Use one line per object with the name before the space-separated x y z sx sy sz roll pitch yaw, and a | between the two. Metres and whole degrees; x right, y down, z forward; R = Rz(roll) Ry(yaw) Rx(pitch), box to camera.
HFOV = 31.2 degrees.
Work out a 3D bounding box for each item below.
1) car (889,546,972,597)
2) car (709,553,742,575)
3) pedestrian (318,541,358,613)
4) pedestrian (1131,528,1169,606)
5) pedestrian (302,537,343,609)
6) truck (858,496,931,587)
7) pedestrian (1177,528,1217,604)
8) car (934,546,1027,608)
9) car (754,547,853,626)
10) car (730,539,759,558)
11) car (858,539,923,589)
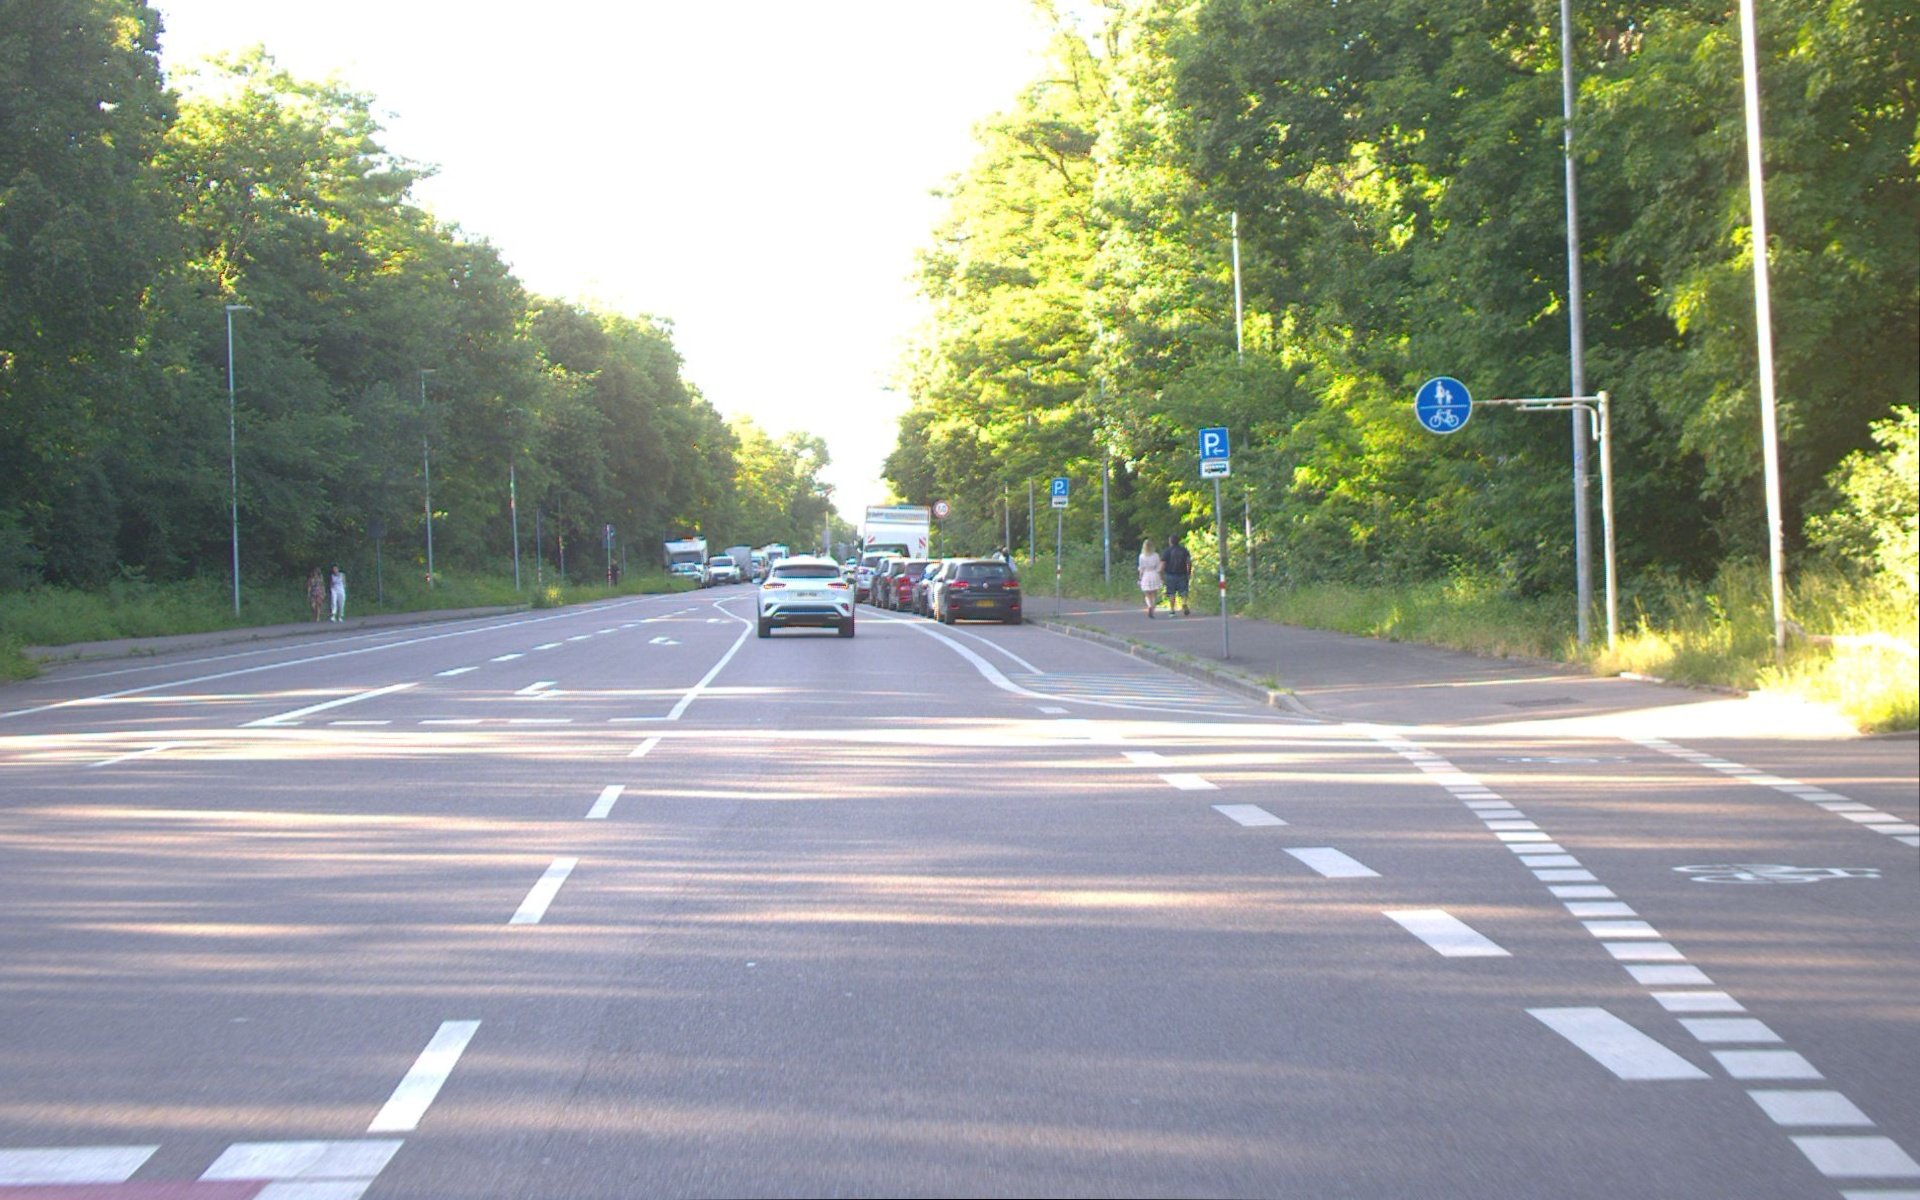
car | -0.846 -0.792 94.656 1.993 1.322 4.001 -2 1 -4
car | -15.360 -2.373 225.166 1.993 1.322 4.001 -2 1 -2
pedestrian | -17.685 -0.655 97.765 0.831 2.007 1.269 -1 1 1
pedestrian | 4.056 -0.705 73.476 0.698 1.647 0.876 -2 1 -1
pedestrian | -18.129 -0.782 97.764 0.863 2.007 1.269 -1 1 1
truck | -2.680 -2.366 138.393 2.799 3.558 8.036 0 1 -2
pedestrian | 5.070 -0.724 73.493 0.743 1.593 0.798 -2 1 -1
car | 0.438 -0.546 78.963 1.993 1.322 4.000 -2 1 -1
car | -3.008 -0.281 65.417 1.761 1.454 3.818 0 1 -4
car | -15.585 -3.731 248.300 1.993 1.322 4.001 -2 1 -2
car | -2.247 -1.171 110.721 1.993 1.550 4.000 -2 1 -1
